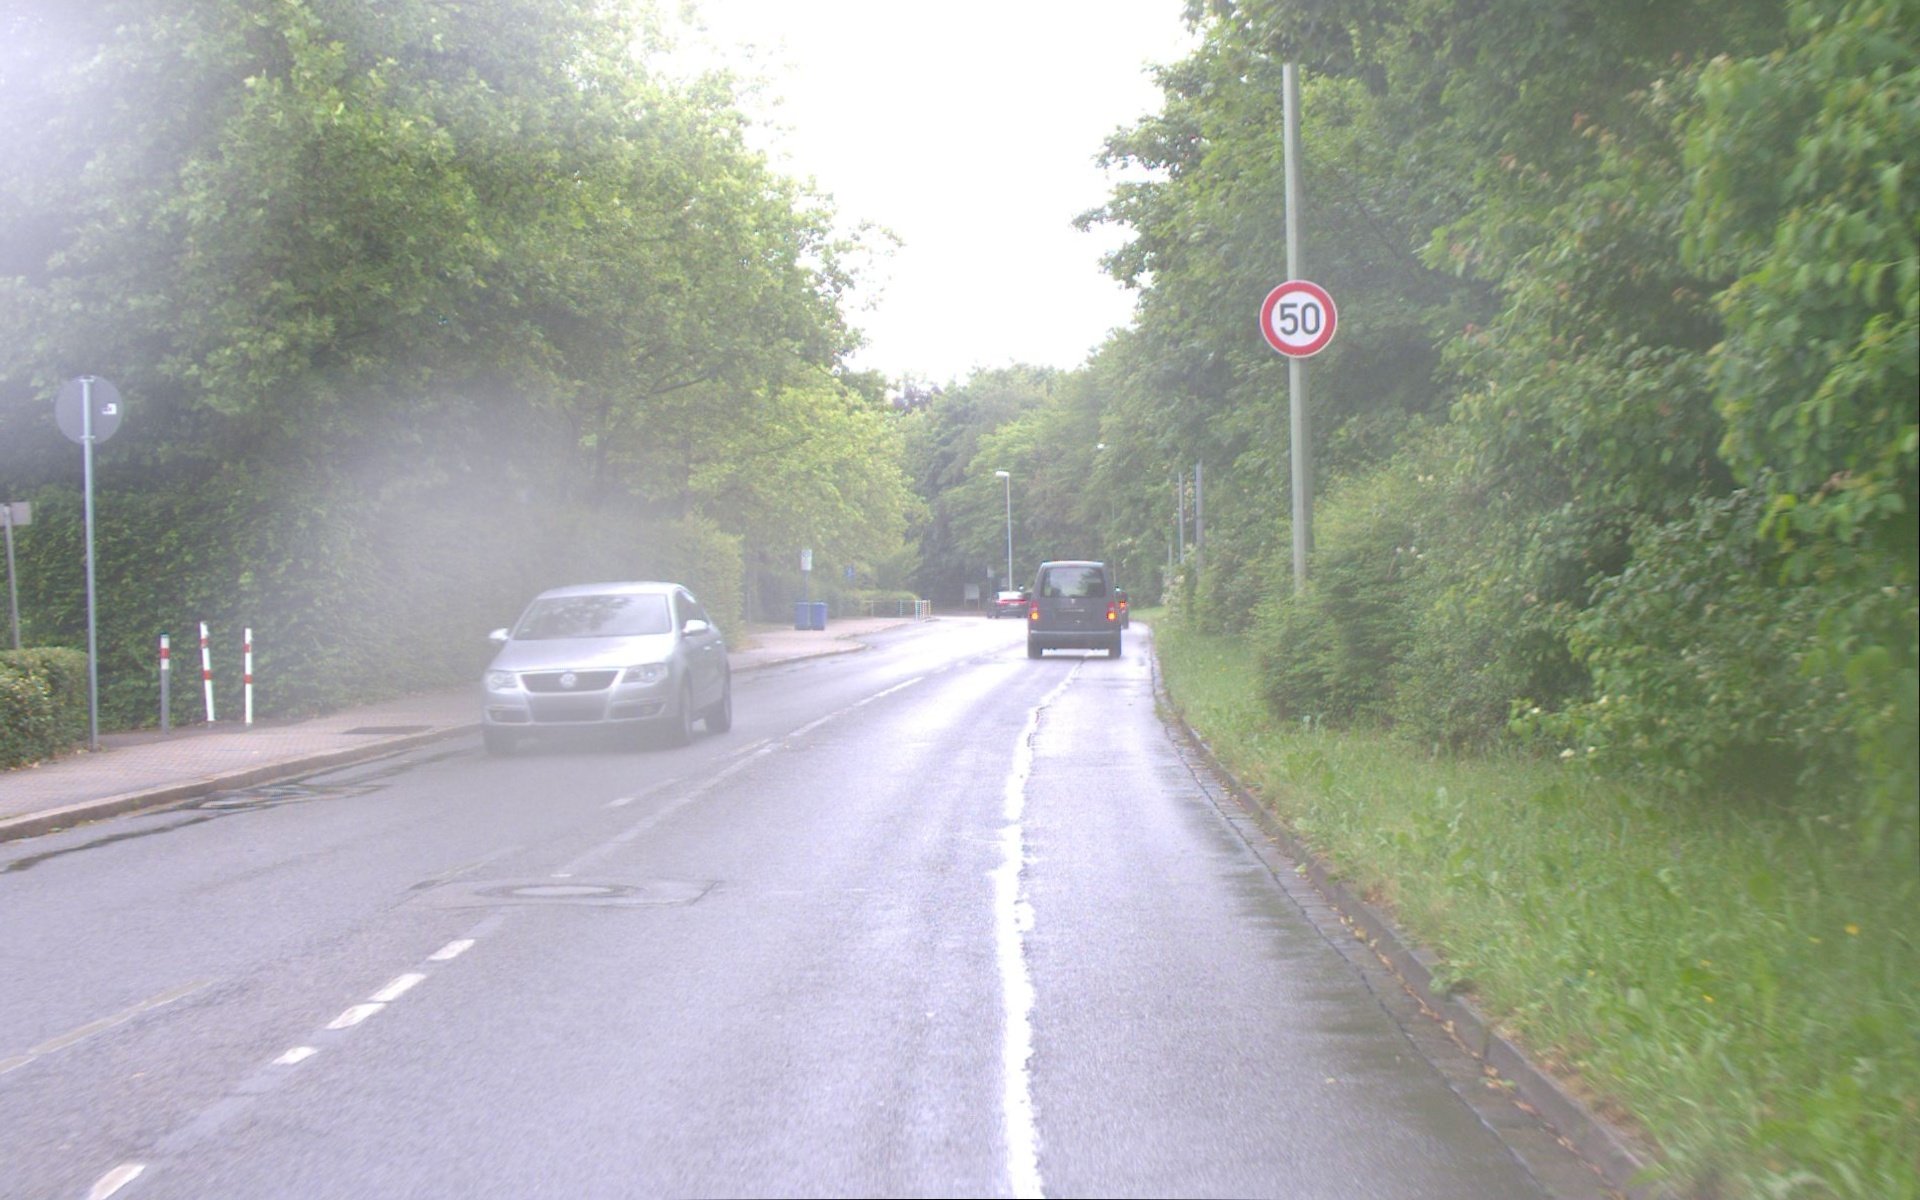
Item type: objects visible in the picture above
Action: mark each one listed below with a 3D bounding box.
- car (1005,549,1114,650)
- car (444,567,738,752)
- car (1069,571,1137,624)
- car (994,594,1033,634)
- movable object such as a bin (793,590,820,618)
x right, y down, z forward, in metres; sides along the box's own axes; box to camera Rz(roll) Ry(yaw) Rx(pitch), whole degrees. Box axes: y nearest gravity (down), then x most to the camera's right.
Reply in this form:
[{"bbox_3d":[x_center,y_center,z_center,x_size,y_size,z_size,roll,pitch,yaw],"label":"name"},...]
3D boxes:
[{"bbox_3d":[1.899,-0.035,65.891,1.993,1.787,4.000,1,2,2],"label":"car"},{"bbox_3d":[-3.224,0.477,30.927,1.993,1.415,4.486,-2,1,2],"label":"car"},{"bbox_3d":[5.045,-0.108,121.629,1.950,1.744,4.001,-2,2,-4],"label":"car"},{"bbox_3d":[2.861,0.751,183.587,1.993,2.007,4.000,2,1,1],"label":"car"},{"bbox_3d":[-5.936,0.150,132.854,0.666,1.023,0.835,-3,0,-28],"label":"movable object such as a bin"}]
